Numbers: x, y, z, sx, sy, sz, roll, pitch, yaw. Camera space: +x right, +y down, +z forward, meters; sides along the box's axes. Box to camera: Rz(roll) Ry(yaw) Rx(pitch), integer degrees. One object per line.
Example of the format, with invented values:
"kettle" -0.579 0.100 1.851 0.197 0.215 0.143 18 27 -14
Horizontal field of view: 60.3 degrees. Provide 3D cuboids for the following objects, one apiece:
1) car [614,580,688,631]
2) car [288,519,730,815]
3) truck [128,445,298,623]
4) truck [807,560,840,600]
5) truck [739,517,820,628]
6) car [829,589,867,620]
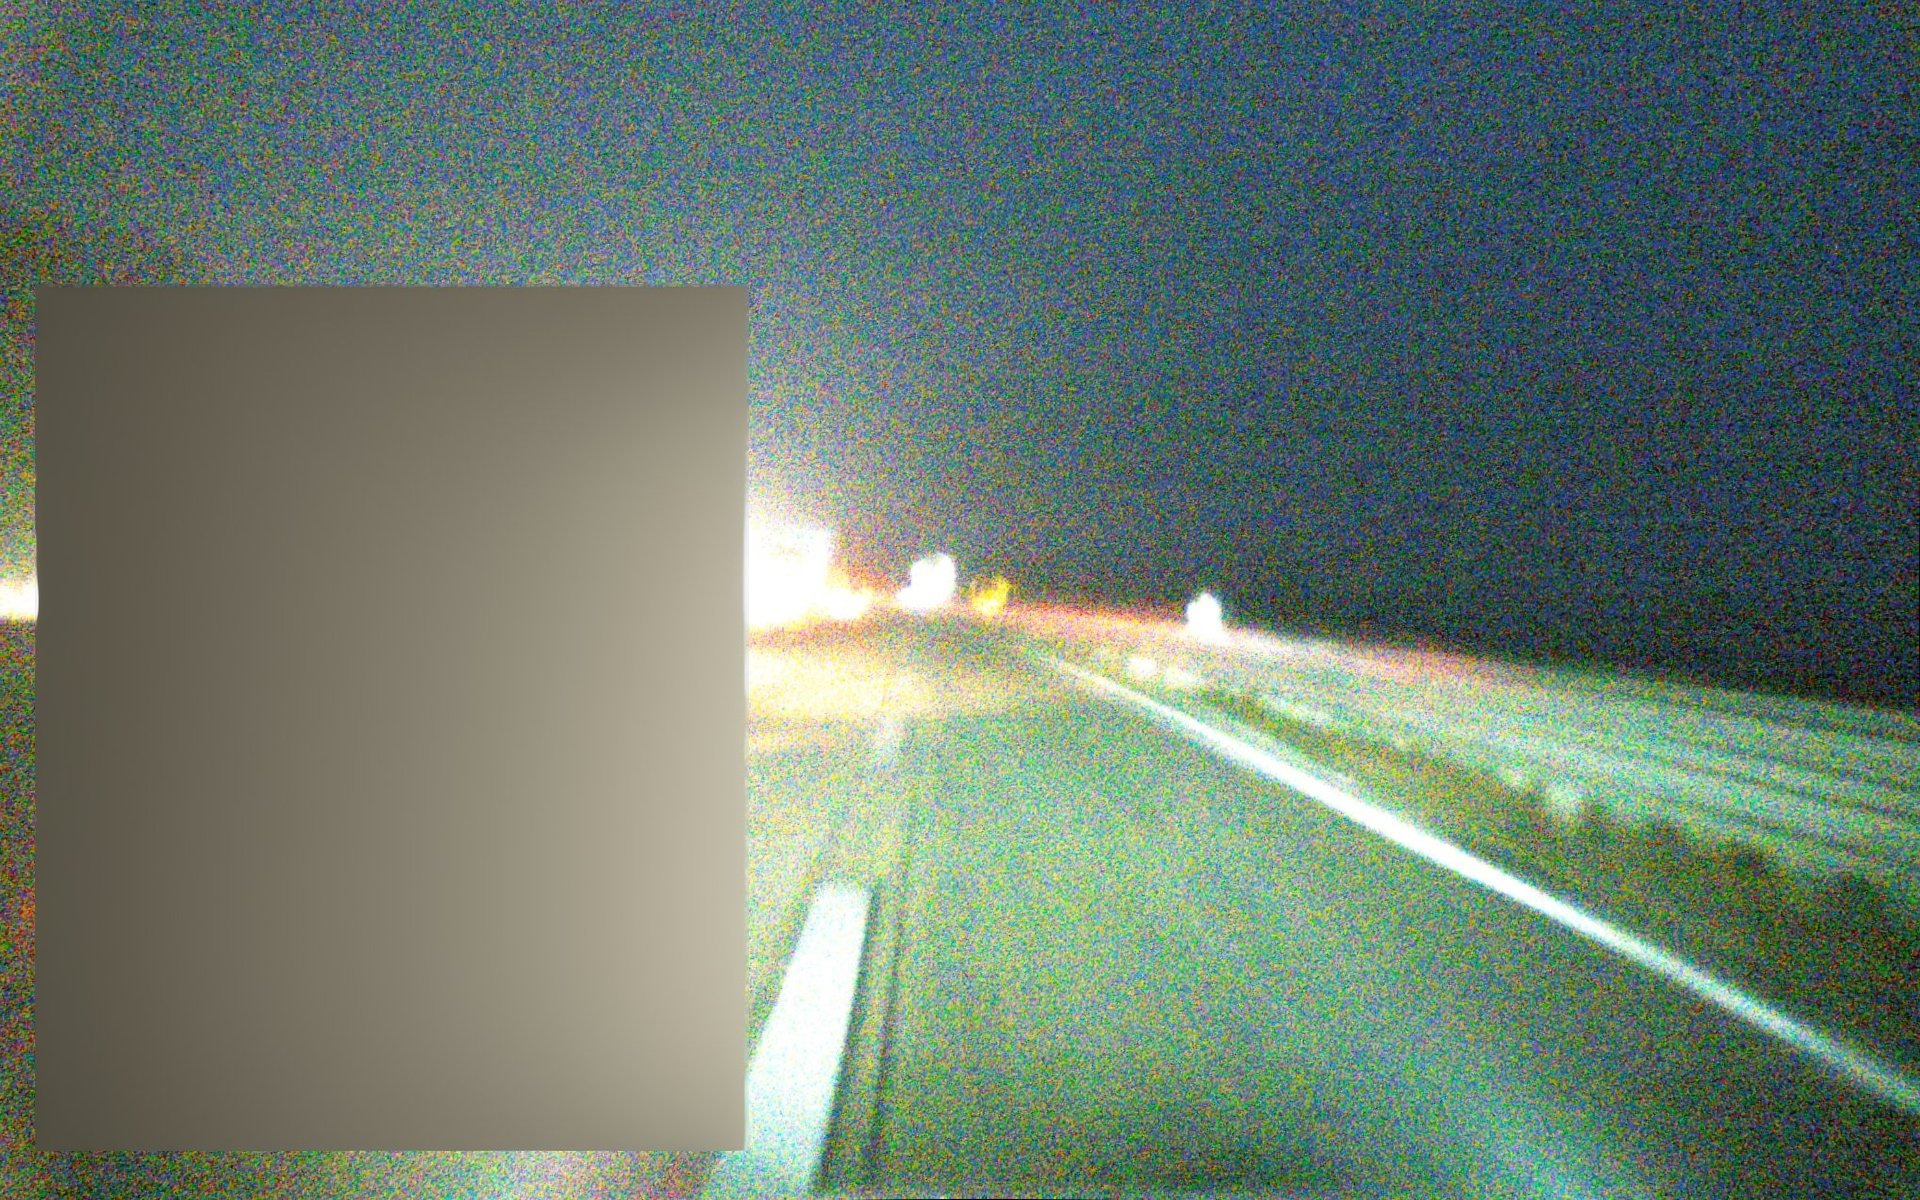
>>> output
"car" -11.189 0.197 60.100 1.953 1.736 4.194 1 0 -2
"car" -3.194 0.421 12.961 1.912 1.823 5.125 1 0 1
"truck" -28.489 -2.411 63.404 3.394 6.233 6.169 5 0 -2
"truck" -17.681 -2.536 213.703 3.751 5.001 11.589 1 0 -7
"truck" -10.102 -1.430 92.424 4.088 5.641 13.055 1 0 -7
"car" -6.552 0.244 96.174 1.956 1.736 4.189 1 0 -7
